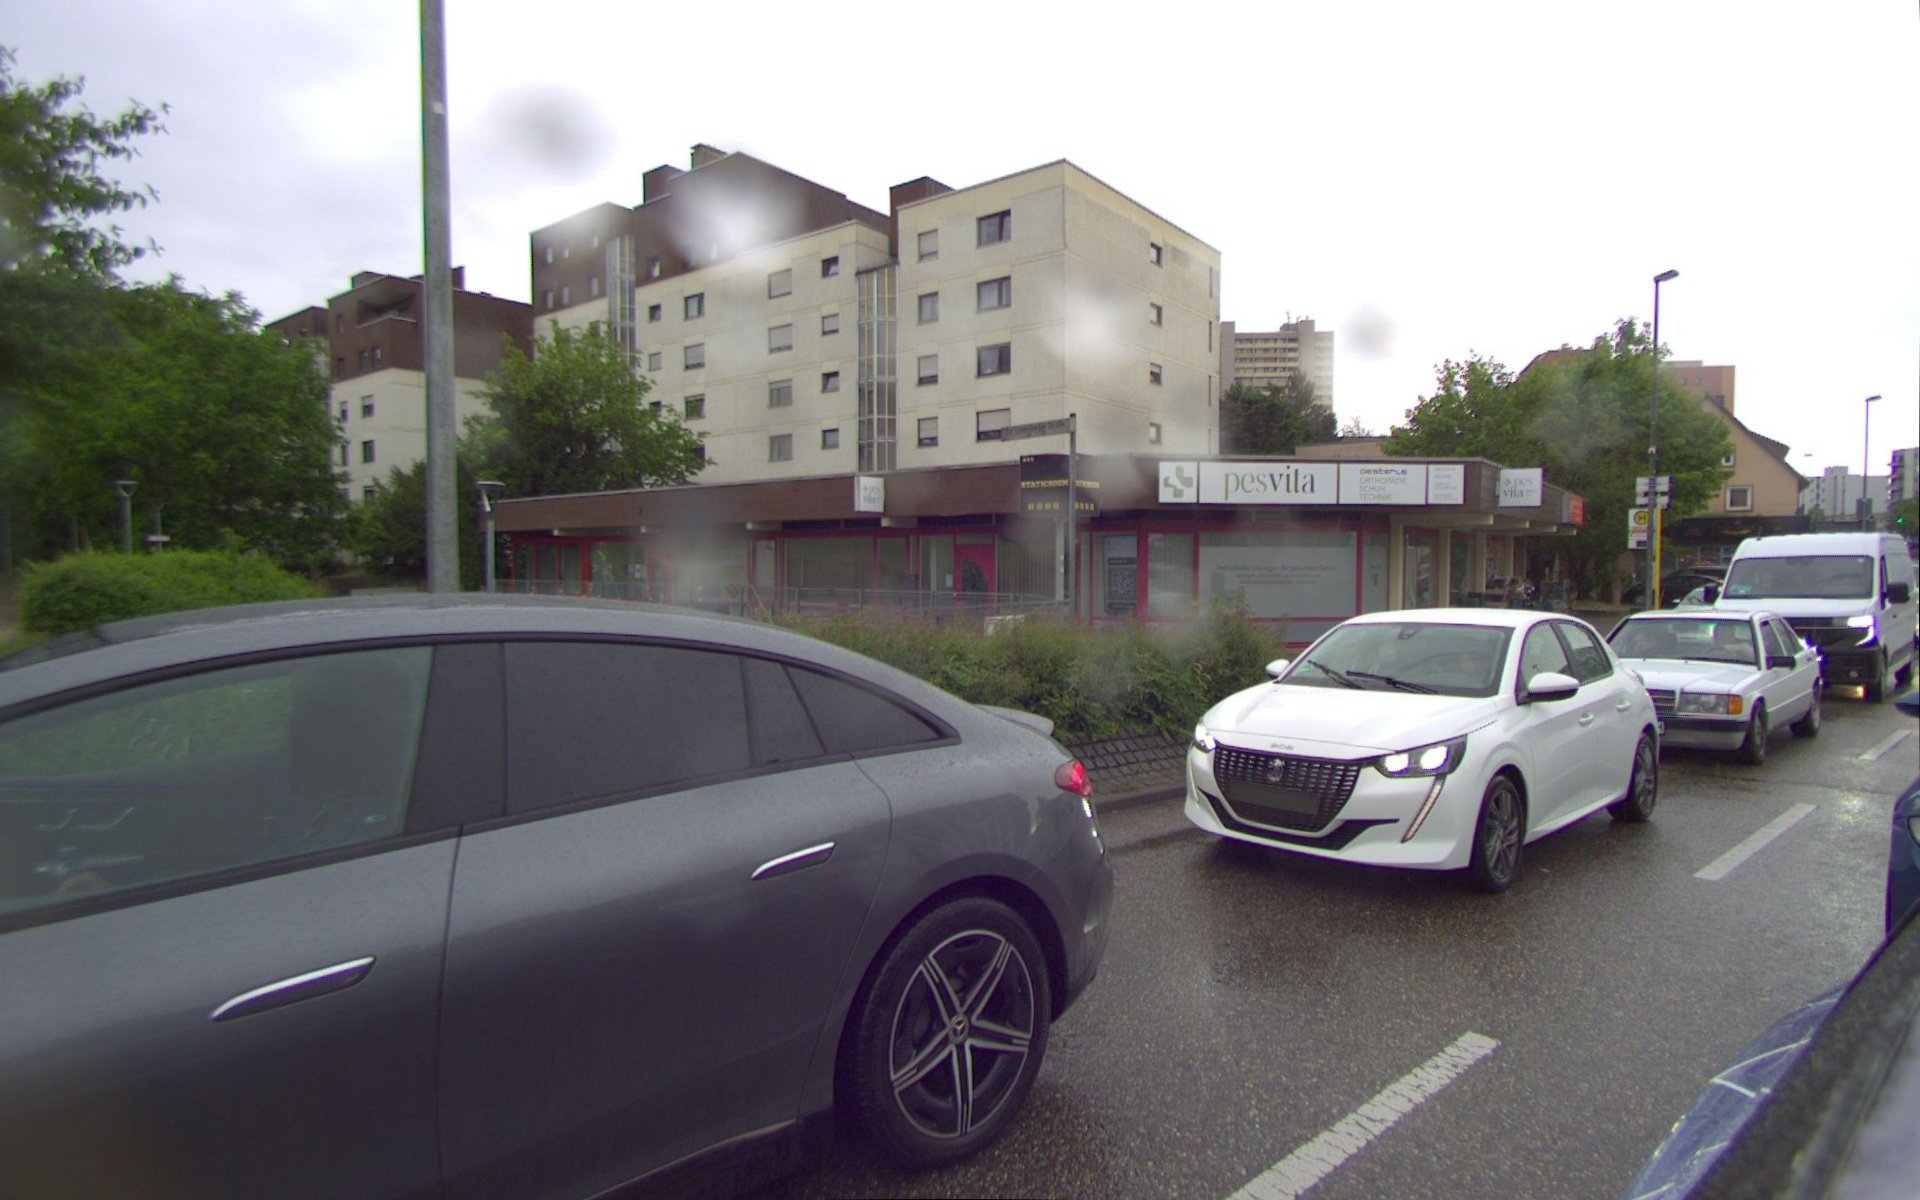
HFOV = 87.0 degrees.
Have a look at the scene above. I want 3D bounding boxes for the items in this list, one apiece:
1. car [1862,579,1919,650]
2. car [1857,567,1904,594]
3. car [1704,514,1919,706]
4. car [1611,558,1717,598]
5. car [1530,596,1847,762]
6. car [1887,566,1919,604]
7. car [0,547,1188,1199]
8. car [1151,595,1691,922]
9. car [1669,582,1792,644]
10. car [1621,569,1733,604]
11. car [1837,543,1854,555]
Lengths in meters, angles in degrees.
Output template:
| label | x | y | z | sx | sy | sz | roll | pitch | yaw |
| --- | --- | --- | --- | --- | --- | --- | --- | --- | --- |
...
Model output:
| label | x | y | z | sx | sy | sz | roll | pitch | yaw |
| --- | --- | --- | --- | --- | --- | --- | --- | --- | --- |
| car | 22.929 | 0.295 | 23.994 | 3.930 | 1.558 | 1.802 | -1 | 2 | -41 |
| car | 64.878 | -1.396 | 71.313 | 3.930 | 1.776 | 1.879 | 0 | 3 | -41 |
| car | 13.994 | 0.046 | 16.314 | 6.021 | 2.549 | 2.194 | -2 | 2 | -43 |
| car | 33.107 | -1.047 | 47.625 | 3.981 | 1.801 | 1.858 | 2 | 2 | 39 |
| car | 7.730 | 0.660 | 10.598 | 4.089 | 1.362 | 1.787 | -1 | 1 | -41 |
| car | 53.442 | -0.871 | 56.757 | 1.995 | 2.038 | 3.936 | 2 | 3 | 45 |
| car | -1.628 | 0.674 | 2.412 | 4.724 | 1.485 | 1.840 | 0 | -1 | -41 |
| car | 3.167 | 0.709 | 6.547 | 4.043 | 1.433 | 1.665 | -1 | 1 | -41 |
| car | 20.289 | 0.275 | 26.595 | 3.930 | 1.509 | 1.787 | -1 | 1 | -41 |
| car | 32.011 | -0.633 | 45.220 | 3.981 | 1.445 | 1.858 | 2 | 2 | 39 |
| car | 139.480 | -8.012 | 159.415 | 1.657 | 1.654 | 3.754 | 1 | 1 | 37 |
